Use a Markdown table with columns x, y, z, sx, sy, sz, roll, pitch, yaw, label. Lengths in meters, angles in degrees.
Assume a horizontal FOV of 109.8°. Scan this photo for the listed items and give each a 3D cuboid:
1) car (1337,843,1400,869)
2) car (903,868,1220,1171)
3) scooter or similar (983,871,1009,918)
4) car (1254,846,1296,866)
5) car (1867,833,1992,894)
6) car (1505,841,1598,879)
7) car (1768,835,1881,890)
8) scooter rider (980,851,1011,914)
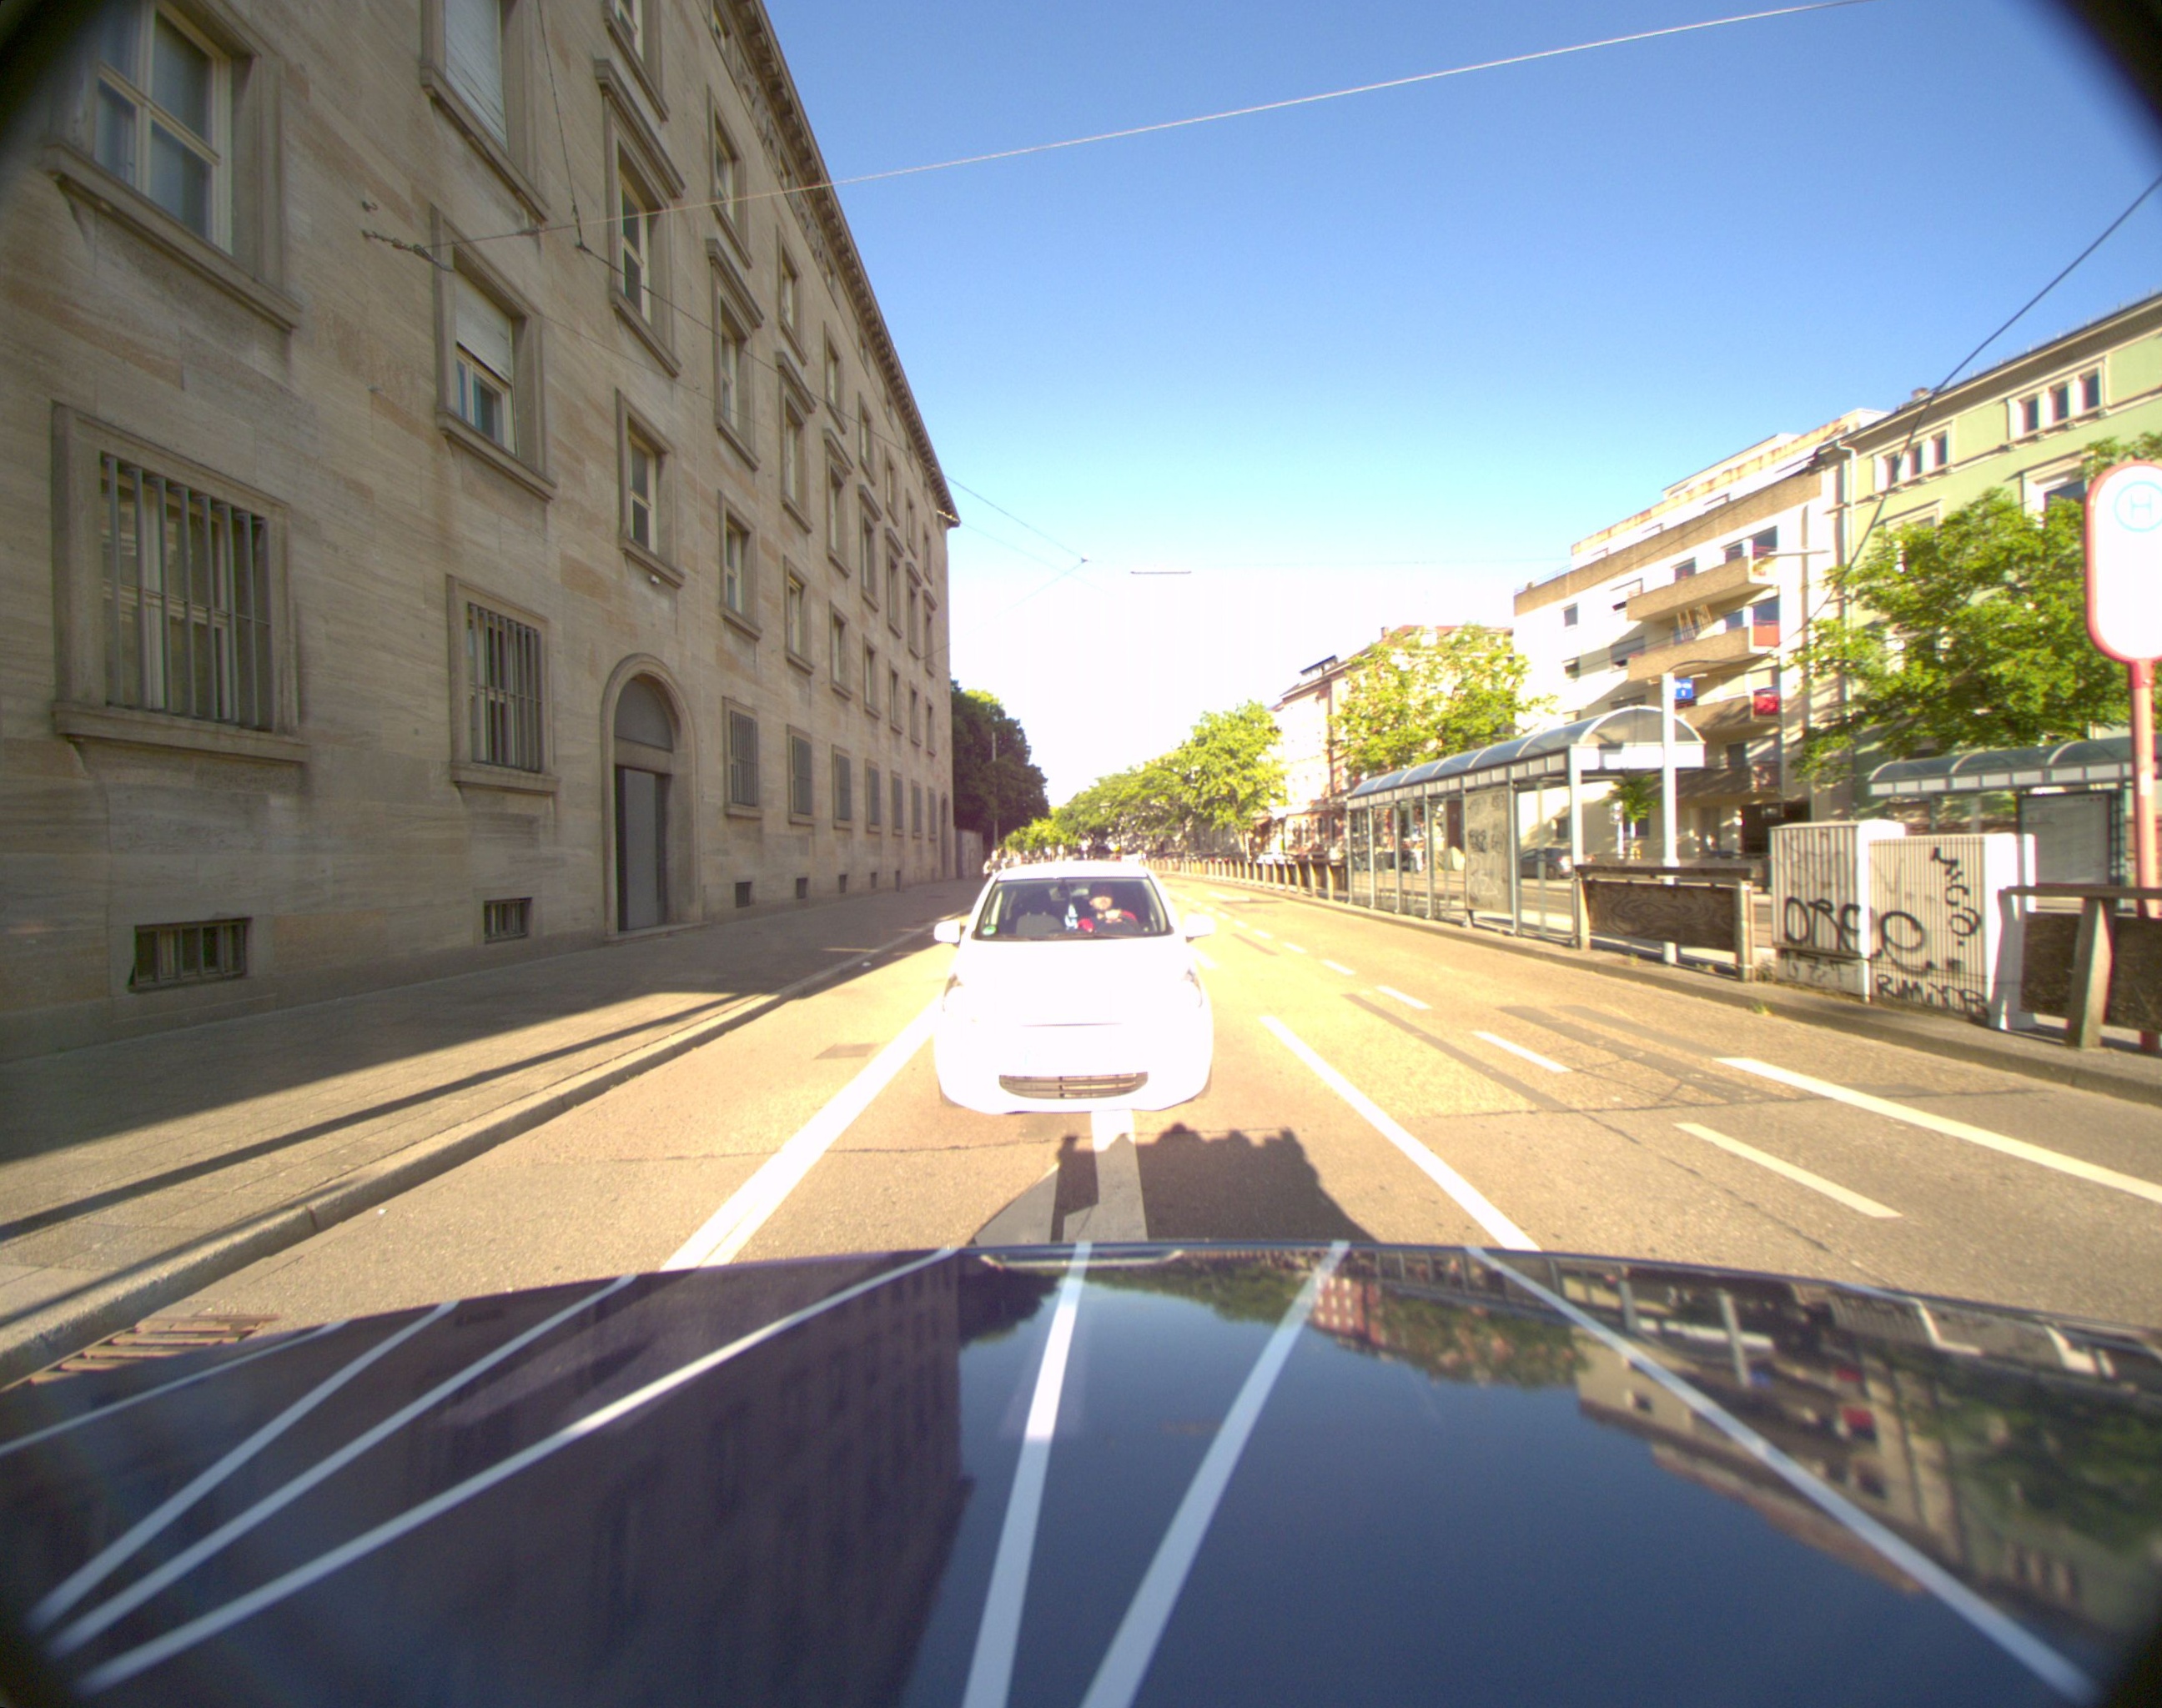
| x | y | z | sx | sy | sz | roll | pitch | yaw | label |
| --- | --- | --- | --- | --- | --- | --- | --- | --- | --- |
| 19.540 | 0.127 | 51.720 | 3.599 | 1.558 | 1.630 | -2 | 1 | -7 | car |
| -0.078 | 0.907 | 5.806 | 1.612 | 1.462 | 3.631 | -2 | 0 | 1 | car |
| -2.272 | 1.079 | 20.414 | 0.536 | 1.178 | 1.328 | -1 | 0 | 0 | scooter or similar |
| 16.254 | 0.157 | 63.474 | 3.607 | 1.558 | 1.627 | -3 | 1 | -42 | car |
| 24.459 | 0.235 | 21.888 | 3.605 | 1.558 | 1.627 | -3 | 1 | -29 | car |
| 20.911 | 0.235 | 33.930 | 1.631 | 1.558 | 3.598 | -2 | 1 | -5 | car |
| 23.880 | 0.229 | 24.400 | 3.605 | 1.558 | 1.627 | -3 | 1 | -29 | car |
| -2.282 | 0.753 | 20.328 | 0.731 | 1.661 | 0.556 | -1 | 1 | 0 | scooter rider |
